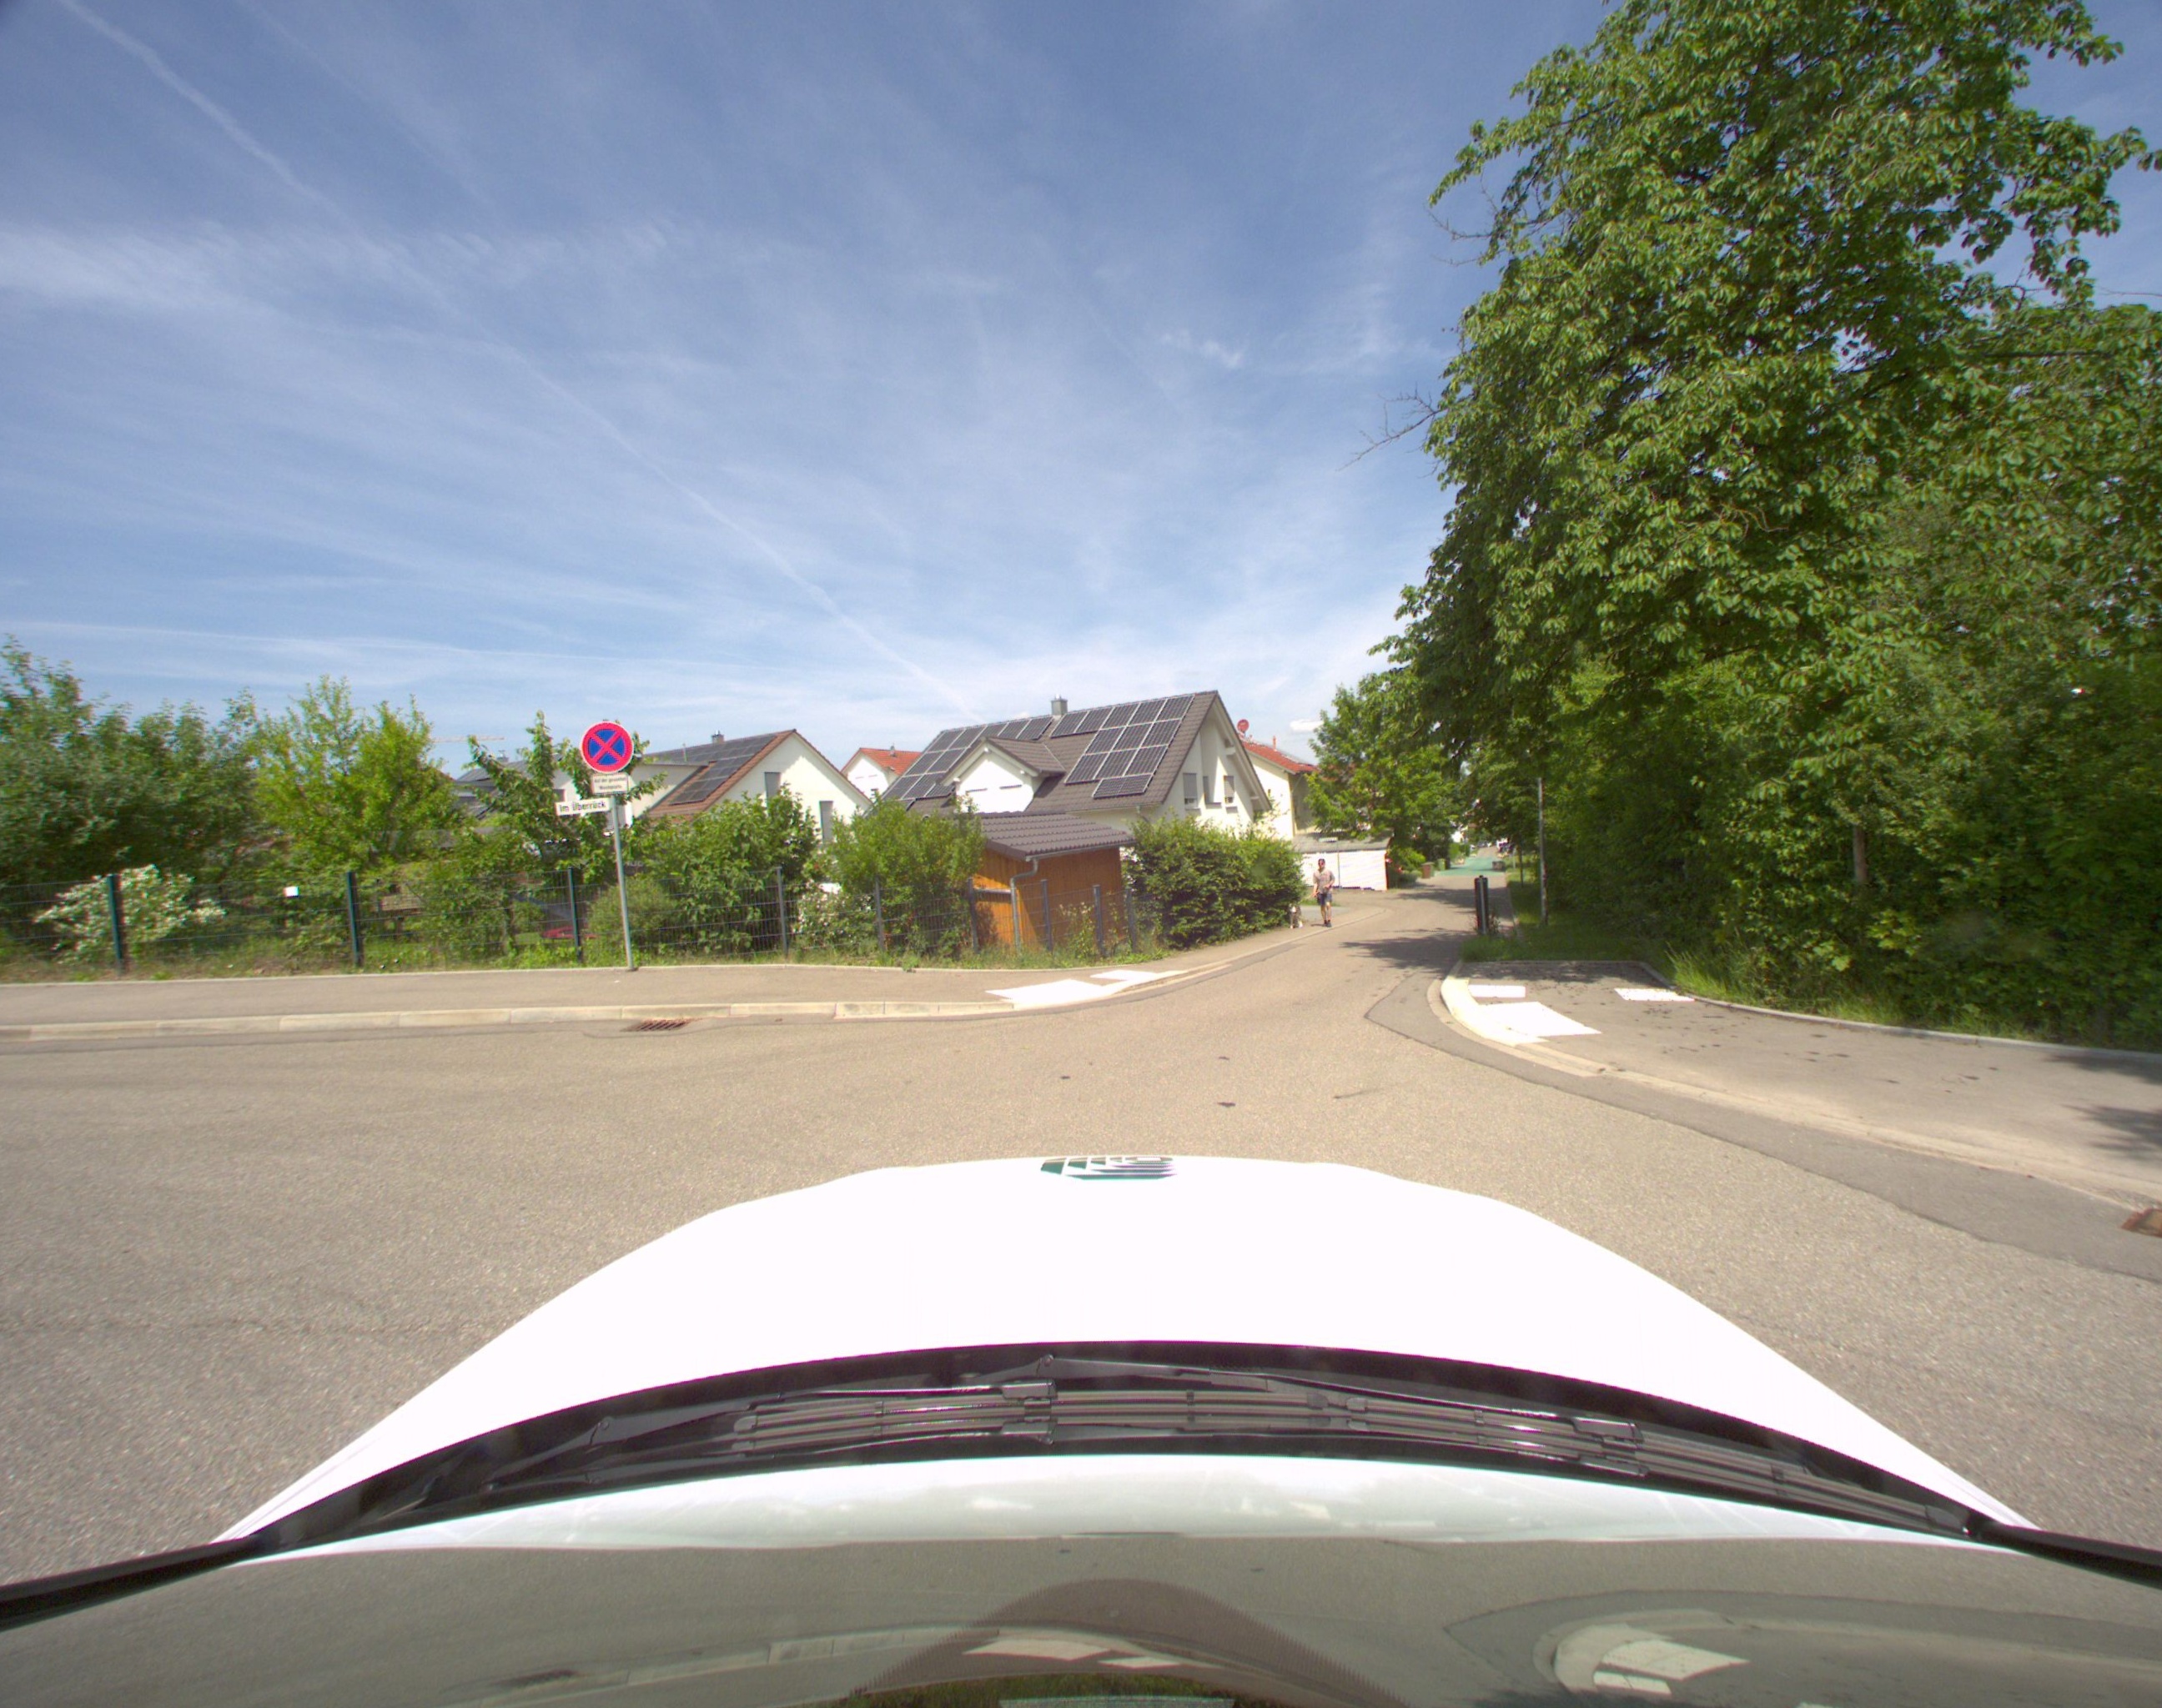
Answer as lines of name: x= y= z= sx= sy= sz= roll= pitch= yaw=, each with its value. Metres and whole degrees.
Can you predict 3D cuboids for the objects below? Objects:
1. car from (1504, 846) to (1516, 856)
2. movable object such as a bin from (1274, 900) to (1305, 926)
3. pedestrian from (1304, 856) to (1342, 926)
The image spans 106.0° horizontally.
car: x=73.020 y=-0.510 z=138.514 sx=1.564 sy=1.420 sz=3.249 roll=-2 pitch=2 yaw=24
movable object such as a bin: x=5.522 y=1.556 z=21.551 sx=0.543 sy=0.629 sz=1.027 roll=-2 pitch=-2 yaw=28
pedestrian: x=6.485 y=0.978 z=21.793 sx=0.838 sy=1.820 sz=0.839 roll=-2 pitch=-2 yaw=22
